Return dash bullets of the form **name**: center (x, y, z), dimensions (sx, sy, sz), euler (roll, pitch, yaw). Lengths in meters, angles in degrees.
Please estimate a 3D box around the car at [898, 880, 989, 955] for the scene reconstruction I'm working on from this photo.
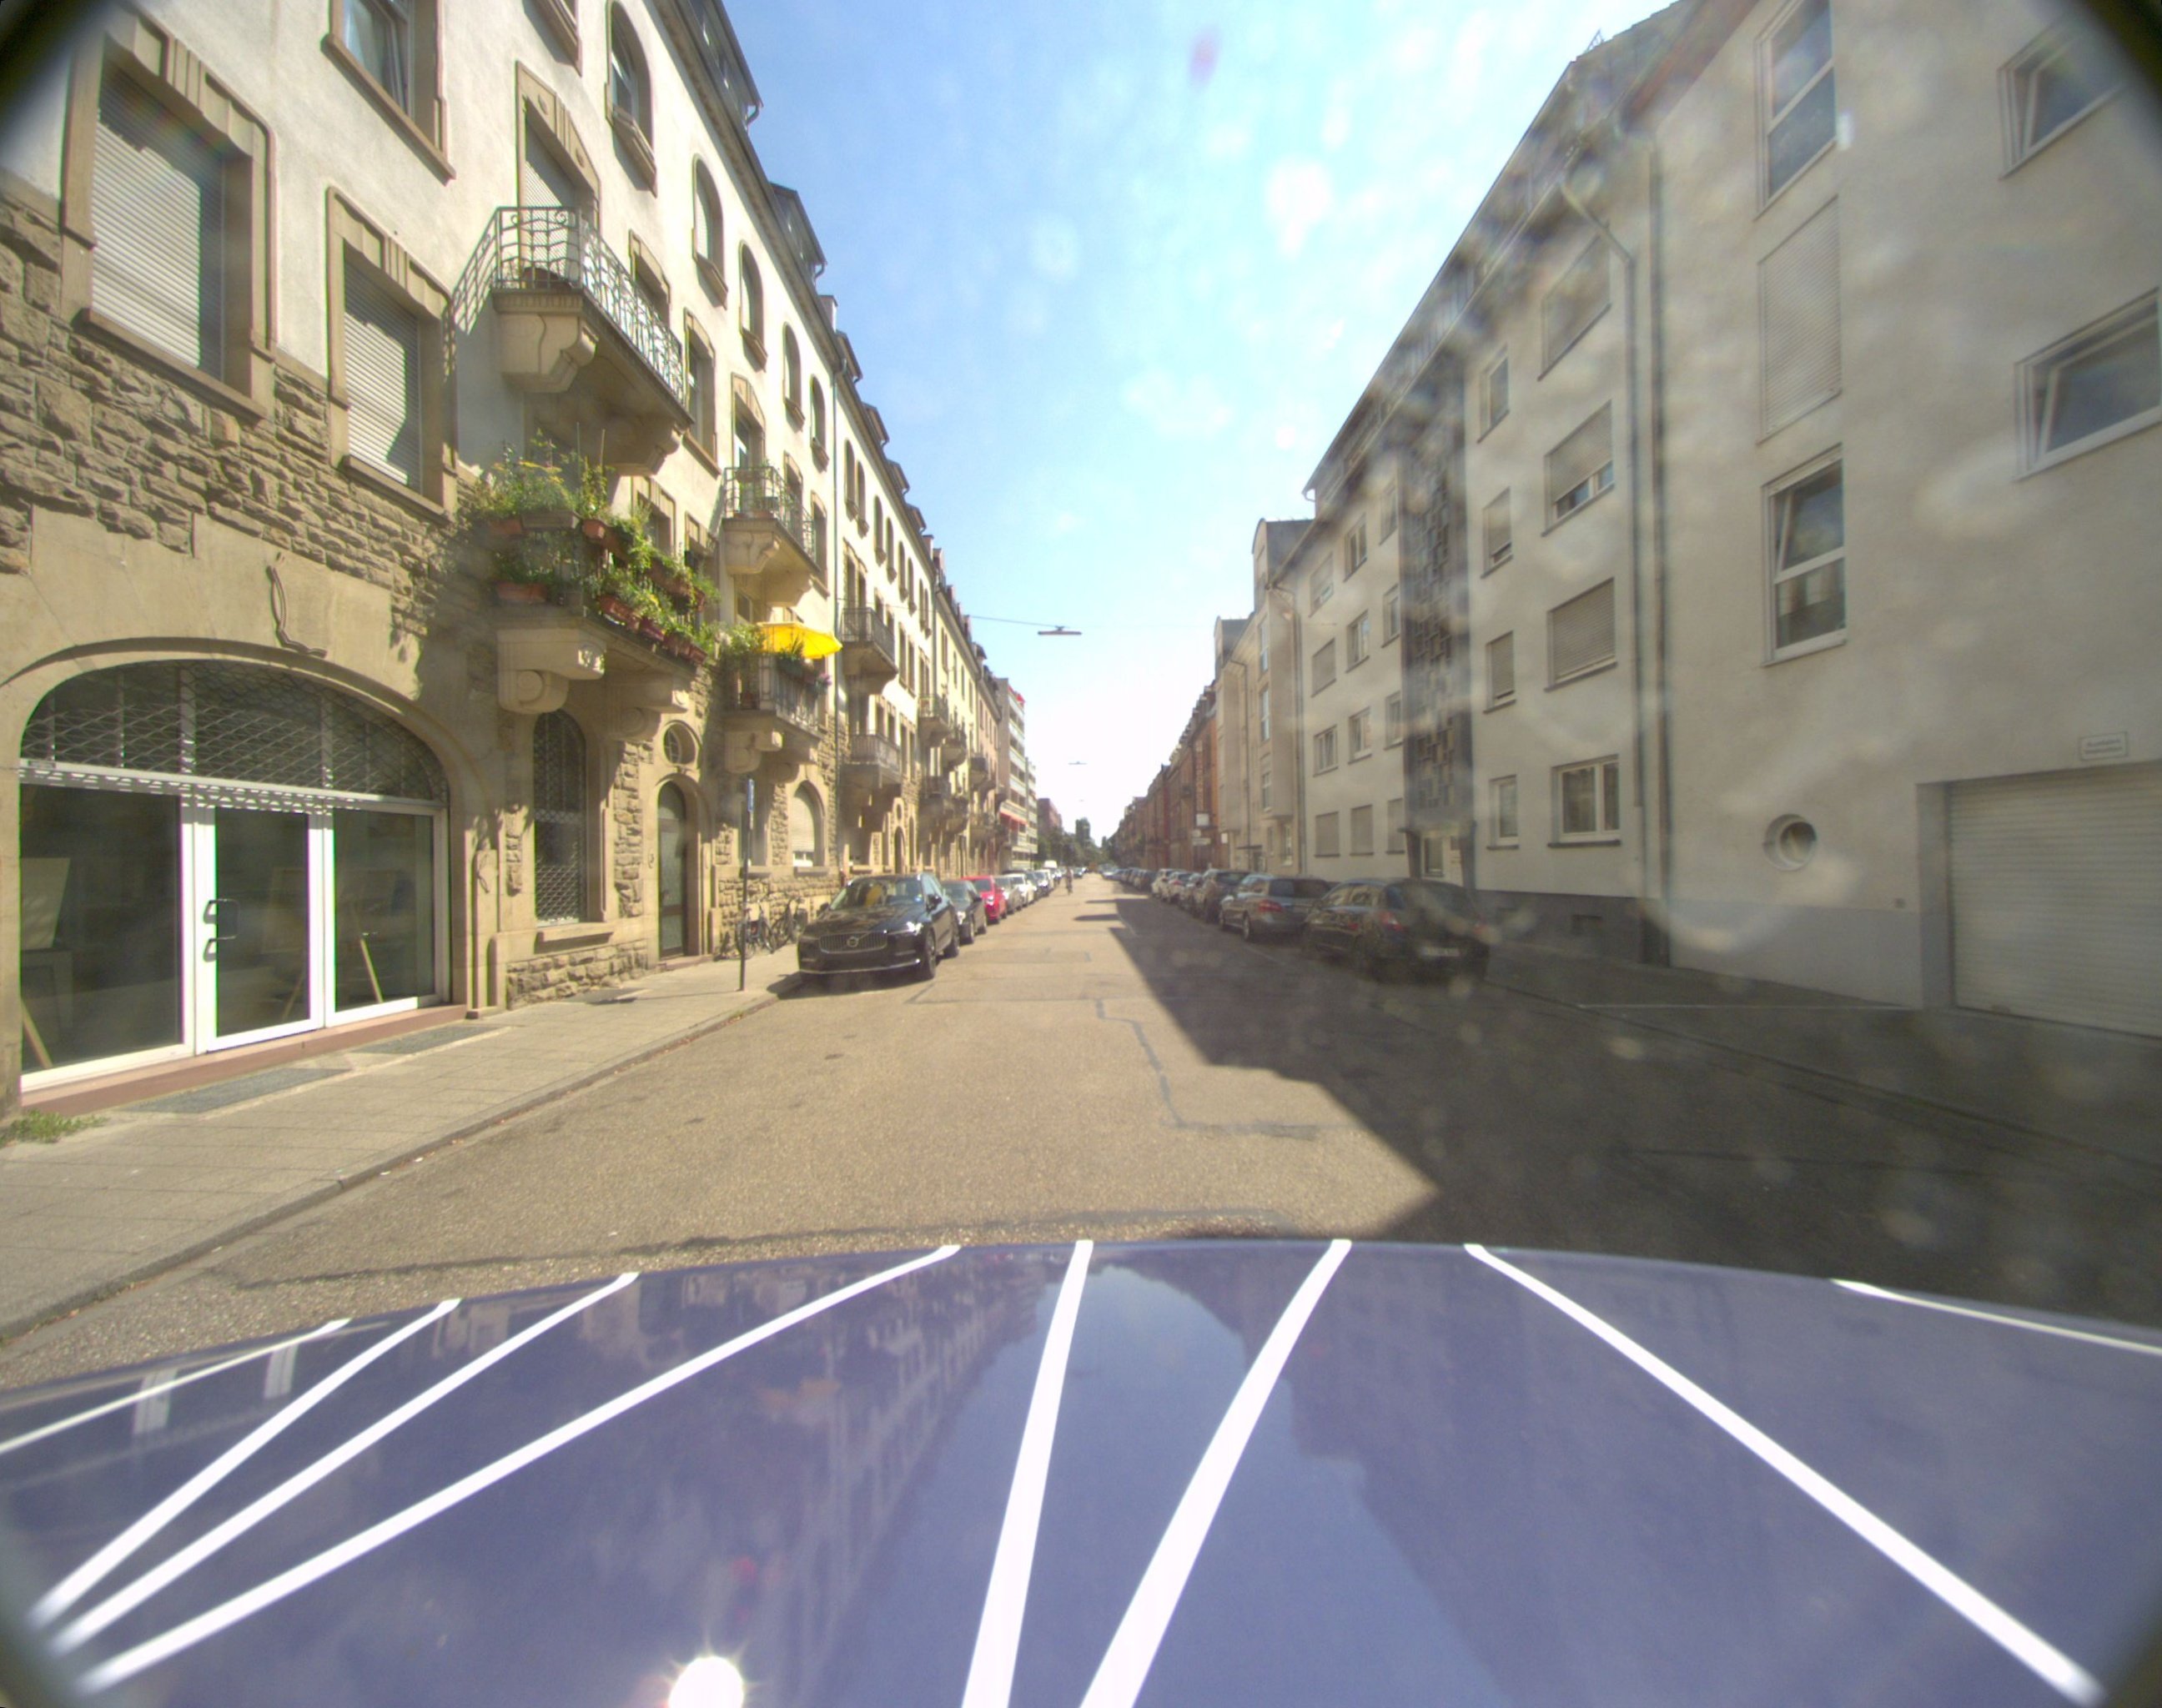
- **car**: center (-3.138, 1.402, 17.980), dimensions (1.516, 1.390, 3.972), euler (-3, 0, -2)

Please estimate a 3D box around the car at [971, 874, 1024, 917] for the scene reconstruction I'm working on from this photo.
- **car**: center (-3.181, 1.558, 29.546), dimensions (1.593, 1.444, 3.856), euler (-3, 0, 0)

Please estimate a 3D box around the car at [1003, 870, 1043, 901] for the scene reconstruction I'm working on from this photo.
- **car**: center (-3.025, 1.610, 40.224), dimensions (1.741, 1.449, 4.668), euler (0, 0, 0)

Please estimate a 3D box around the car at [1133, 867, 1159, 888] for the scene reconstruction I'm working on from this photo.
- **car**: center (4.937, 1.800, 57.968), dimensions (1.632, 1.421, 3.679), euler (3, 0, 2)

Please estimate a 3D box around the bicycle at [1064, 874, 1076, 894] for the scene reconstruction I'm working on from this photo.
- **bicycle**: center (-0.633, 1.790, 45.548), dimensions (0.671, 1.169, 2.094), euler (0, 0, 1)

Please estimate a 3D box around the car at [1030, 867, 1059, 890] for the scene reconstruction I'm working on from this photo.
- **car**: center (-2.675, 1.769, 56.868), dimensions (1.651, 1.612, 4.093), euler (0, 0, 4)

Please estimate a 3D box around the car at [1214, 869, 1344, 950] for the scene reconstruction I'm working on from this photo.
- **car**: center (4.322, 1.149, 17.386), dimensions (1.661, 1.509, 4.671), euler (1, 0, -1)

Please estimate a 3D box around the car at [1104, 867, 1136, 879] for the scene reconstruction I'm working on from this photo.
- **car**: center (4.847, 2.375, 95.122), dimensions (3.996, 1.422, 1.678), euler (0, 0, 1)

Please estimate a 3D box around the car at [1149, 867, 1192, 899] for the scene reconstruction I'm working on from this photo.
- **car**: center (4.896, 1.577, 41.957), dimensions (1.633, 1.540, 3.852), euler (3, 0, -3)

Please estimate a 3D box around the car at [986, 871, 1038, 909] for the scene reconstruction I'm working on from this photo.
- **car**: center (-3.088, 1.588, 34.683), dimensions (1.720, 1.444, 4.598), euler (-3, 0, 2)

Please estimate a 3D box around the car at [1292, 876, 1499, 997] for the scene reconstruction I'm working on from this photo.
- **car**: center (4.714, 1.156, 12.015), dimensions (1.571, 1.483, 3.893), euler (1, 0, -1)

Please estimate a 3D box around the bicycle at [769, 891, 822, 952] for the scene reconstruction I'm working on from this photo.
- **bicycle**: center (-6.238, 1.453, 16.685), dimensions (0.442, 1.200, 1.775), euler (0, 0, 1)

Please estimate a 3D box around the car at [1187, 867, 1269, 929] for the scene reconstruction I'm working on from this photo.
- **car**: center (4.313, 1.253, 22.883), dimensions (1.608, 1.634, 3.977), euler (1, 0, -1)

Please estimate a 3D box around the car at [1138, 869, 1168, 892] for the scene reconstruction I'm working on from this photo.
- **car**: center (4.957, 1.806, 52.625), dimensions (1.781, 1.421, 3.837), euler (3, 0, 2)

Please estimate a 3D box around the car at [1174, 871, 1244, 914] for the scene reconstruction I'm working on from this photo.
- **car**: center (4.625, 1.366, 28.128), dimensions (1.769, 1.385, 4.348), euler (1, 0, -1)

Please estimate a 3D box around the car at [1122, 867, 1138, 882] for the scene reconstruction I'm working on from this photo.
- **car**: center (5.035, 2.073, 78.319), dimensions (1.450, 1.391, 3.526), euler (3, 0, 1)

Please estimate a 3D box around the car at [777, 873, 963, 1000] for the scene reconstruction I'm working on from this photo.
- **car**: center (-3.202, 1.172, 12.570), dimensions (1.838, 1.557, 4.604), euler (-3, 0, -2)

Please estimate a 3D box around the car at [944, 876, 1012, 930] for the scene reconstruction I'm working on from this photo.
- **car**: center (-3.200, 1.482, 24.180), dimensions (1.574, 1.444, 3.843), euler (-3, 0, 0)

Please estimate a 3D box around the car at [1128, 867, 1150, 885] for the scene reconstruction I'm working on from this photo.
- **car**: center (5.103, 1.908, 67.184), dimensions (1.450, 1.464, 3.525), euler (3, 0, -1)

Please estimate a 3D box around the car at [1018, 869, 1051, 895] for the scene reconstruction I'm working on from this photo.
- **car**: center (-2.794, 1.667, 46.185), dimensions (1.828, 1.423, 4.489), euler (-1, -1, -2)

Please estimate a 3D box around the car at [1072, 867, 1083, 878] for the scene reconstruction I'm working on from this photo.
- **car**: center (-0.503, 2.676, 111.858), dimensions (1.625, 1.600, 3.597), euler (0, 0, 0)

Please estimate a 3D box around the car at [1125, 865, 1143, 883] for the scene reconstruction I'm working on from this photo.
- **car**: center (5.102, 1.911, 73.383), dimensions (1.450, 1.633, 3.526), euler (3, 0, -1)

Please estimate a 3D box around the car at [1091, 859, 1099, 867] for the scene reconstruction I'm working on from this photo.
- **car**: center (3.559, 2.212, 192.704), dimensions (1.785, 2.002, 4.001), euler (-1, 0, 3)

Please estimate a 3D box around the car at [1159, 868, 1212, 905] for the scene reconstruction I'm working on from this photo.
- **car**: center (4.728, 1.425, 34.938), dimensions (1.735, 1.486, 4.348), euler (2, 0, -1)

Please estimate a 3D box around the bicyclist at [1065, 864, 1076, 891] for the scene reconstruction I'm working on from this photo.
- **bicyclist**: center (-0.637, 1.405, 45.521), dimensions (0.645, 1.639, 0.622), euler (0, 0, 1)

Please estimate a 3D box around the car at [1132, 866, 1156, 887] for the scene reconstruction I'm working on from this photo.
- **car**: center (5.213, 1.827, 62.837), dimensions (1.450, 1.534, 3.525), euler (3, 0, -2)

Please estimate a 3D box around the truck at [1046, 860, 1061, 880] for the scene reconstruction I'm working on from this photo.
- **truck**: center (-3.745, 2.151, 103.342), dimensions (1.869, 2.715, 4.508), euler (0, 0, 0)

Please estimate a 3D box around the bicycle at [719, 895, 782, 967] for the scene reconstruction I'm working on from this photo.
- **bicycle**: center (-6.204, 1.410, 14.358), dimensions (0.385, 1.200, 1.775), euler (0, 0, 1)
